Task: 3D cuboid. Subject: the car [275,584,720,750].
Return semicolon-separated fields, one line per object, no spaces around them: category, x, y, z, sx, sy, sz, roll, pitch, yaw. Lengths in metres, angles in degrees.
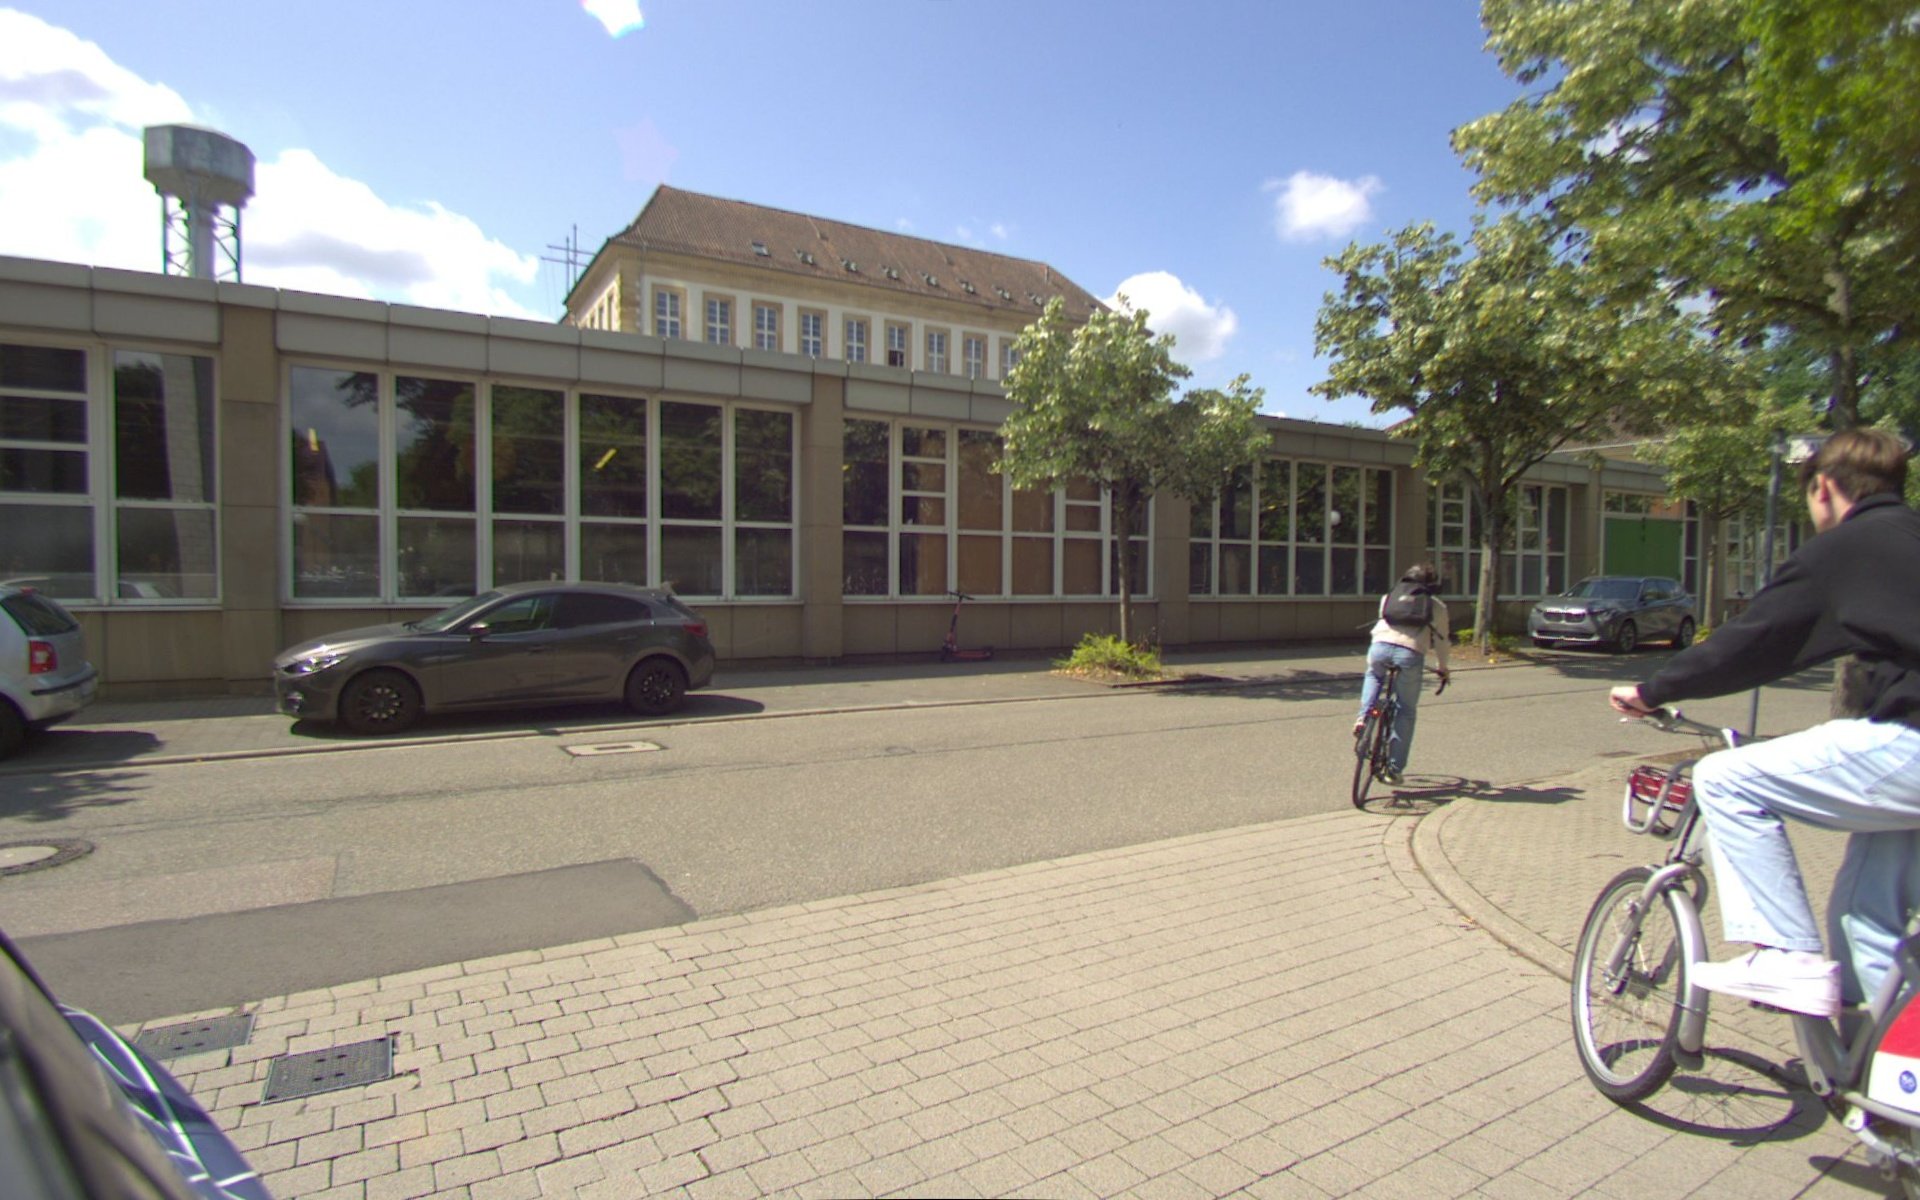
car;-4.896;0.585;11.027;4.140;1.487;1.658;-1;2;-31

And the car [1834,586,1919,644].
car;28.370;0.417;30.510;4.462;1.646;1.843;0;0;-33

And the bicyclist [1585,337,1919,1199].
bicyclist;2.156;0.437;2.334;0.663;1.902;0.972;0;-2;-15

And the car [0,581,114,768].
car;-9.466;0.598;8.243;3.715;1.487;1.659;0;2;-31

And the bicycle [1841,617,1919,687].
bicycle;15.533;0.839;16.923;2.037;1.116;0.607;0;-1;-31

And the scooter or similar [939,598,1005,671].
scooter or similar;0.210;0.578;17.383;1.138;1.235;0.290;0;0;-27

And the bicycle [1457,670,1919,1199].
bicycle;2.148;0.776;2.348;0.663;1.149;1.892;0;-2;-16

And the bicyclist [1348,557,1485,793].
bicyclist;3.327;0.510;7.364;0.641;1.585;0.862;-1;-1;45

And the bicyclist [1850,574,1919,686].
bicyclist;15.407;0.494;16.860;0.883;1.815;0.607;1;-1;-31

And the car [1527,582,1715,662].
car;14.933;0.429;22.810;4.462;1.629;1.844;0;2;-33

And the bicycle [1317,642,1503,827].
bicycle;3.286;0.891;7.306;0.641;1.116;1.793;-1;-1;44
